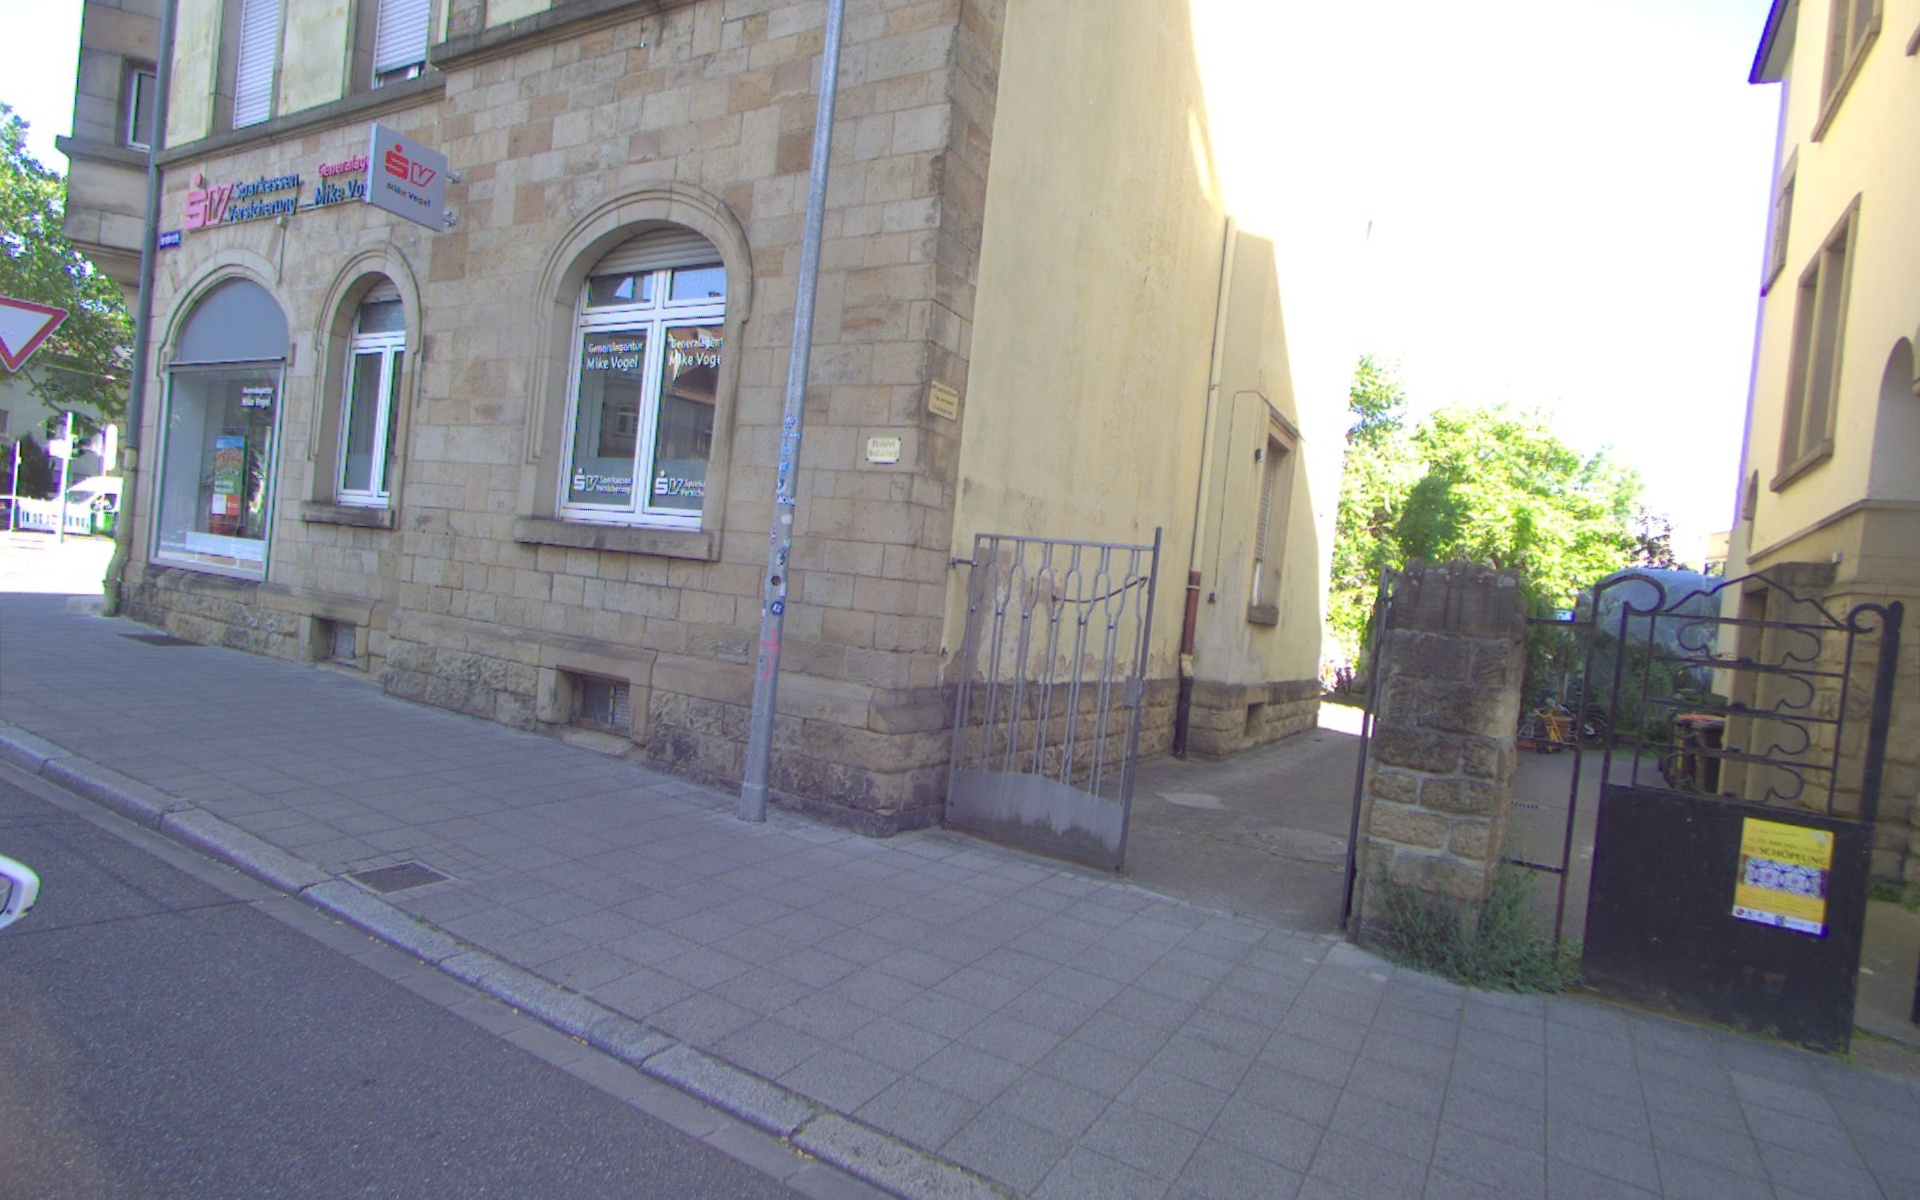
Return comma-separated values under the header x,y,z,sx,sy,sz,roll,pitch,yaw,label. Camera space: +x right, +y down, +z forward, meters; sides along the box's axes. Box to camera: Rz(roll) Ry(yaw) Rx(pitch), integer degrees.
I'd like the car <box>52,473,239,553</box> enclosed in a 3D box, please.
x,y,z,sx,sy,sz,roll,pitch,yaw,label
-34.411,-3.586,42.814,1.962,2.600,6.061,7,0,14,car

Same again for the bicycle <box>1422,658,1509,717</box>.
x,y,z,sx,sy,sz,roll,pitch,yaw,label
12.307,2.101,24.615,0.855,1.124,2.864,6,0,7,bicycle

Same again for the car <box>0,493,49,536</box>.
x,y,z,sx,sy,sz,roll,pitch,yaw,label
-38.420,-3.501,39.678,1.496,1.506,3.391,6,0,10,car

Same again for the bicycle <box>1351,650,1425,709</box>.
x,y,z,sx,sy,sz,roll,pitch,yaw,label
10.620,1.944,25.086,0.860,1.180,2.659,6,0,6,bicycle
